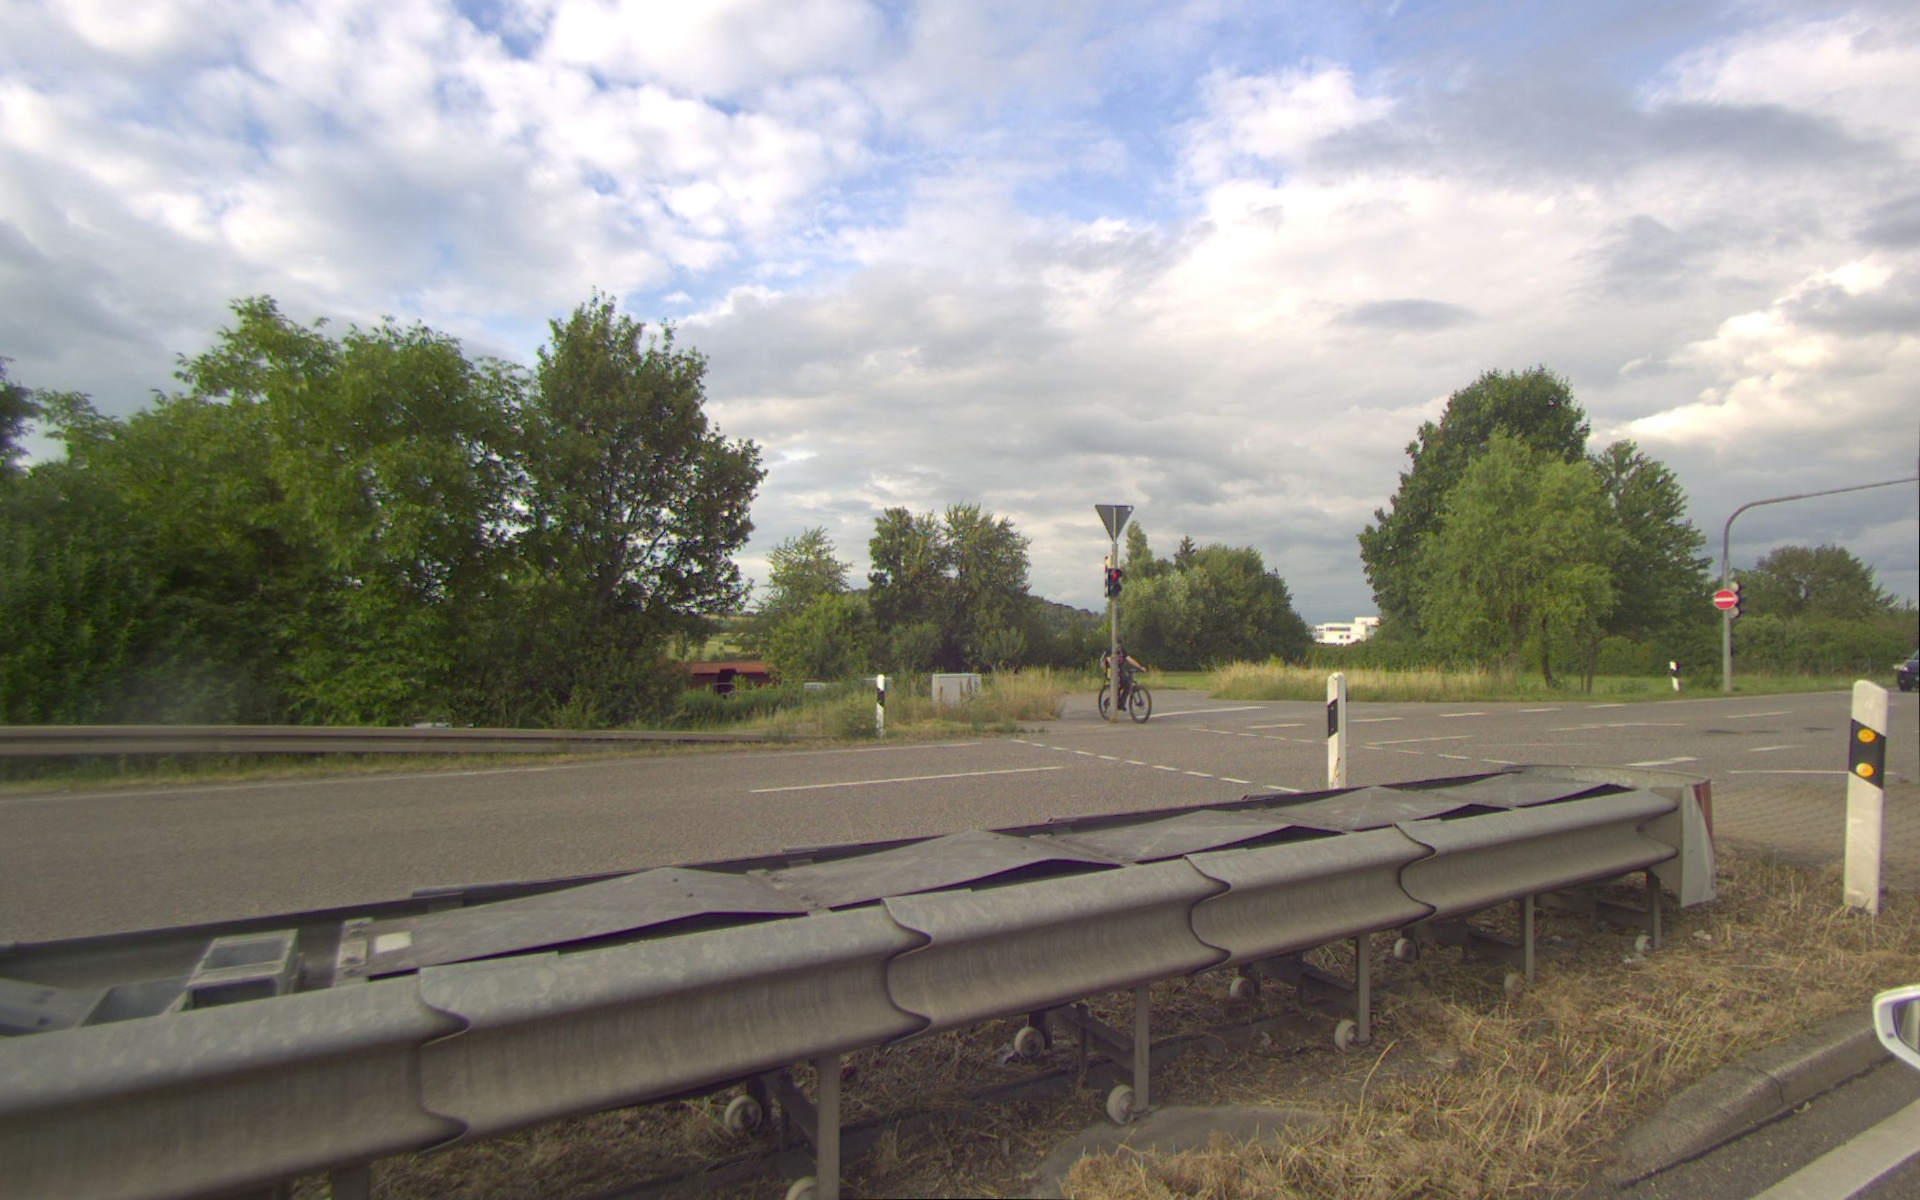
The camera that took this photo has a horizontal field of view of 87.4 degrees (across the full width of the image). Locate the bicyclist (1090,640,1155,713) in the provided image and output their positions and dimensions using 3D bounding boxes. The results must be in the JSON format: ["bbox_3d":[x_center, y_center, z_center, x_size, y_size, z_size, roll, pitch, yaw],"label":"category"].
[{"bbox_3d":[3.386,1.580,21.019,0.804,1.470,1.219,1,-2,-24],"label":"bicyclist"}]

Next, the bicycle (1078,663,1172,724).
[{"bbox_3d":[3.399,1.916,20.980,0.804,1.152,2.314,1,-2,-24],"label":"bicycle"}]

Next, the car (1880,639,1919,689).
[{"bbox_3d":[31.977,2.052,32.521,4.881,1.556,1.899,1,-2,-31],"label":"car"}]
